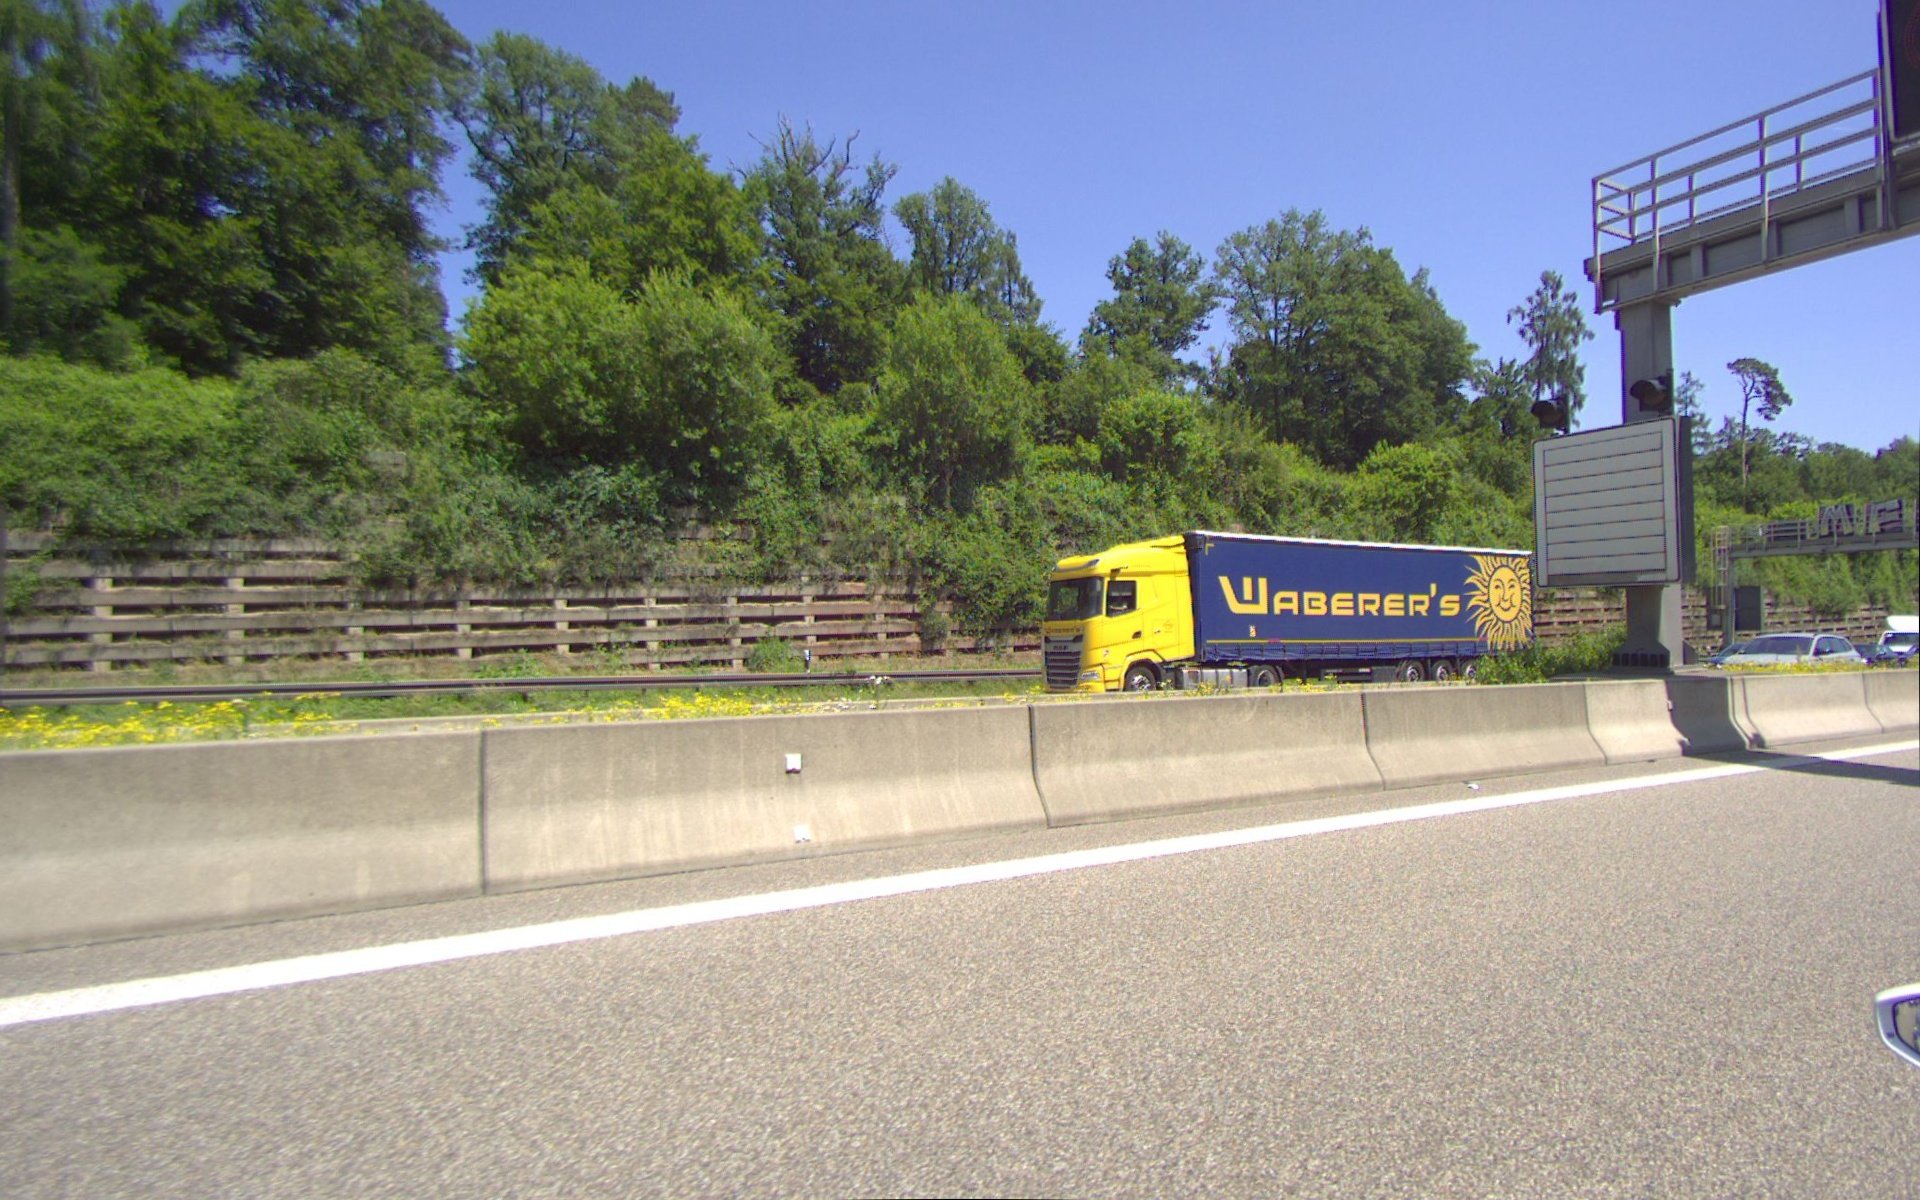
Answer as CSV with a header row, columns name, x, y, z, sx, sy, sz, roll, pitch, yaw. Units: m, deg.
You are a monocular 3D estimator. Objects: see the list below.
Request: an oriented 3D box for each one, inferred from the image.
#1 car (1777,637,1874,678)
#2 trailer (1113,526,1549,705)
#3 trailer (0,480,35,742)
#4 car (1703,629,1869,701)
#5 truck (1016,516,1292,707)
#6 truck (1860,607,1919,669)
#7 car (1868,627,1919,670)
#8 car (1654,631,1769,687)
name,x,y,z,sx,sy,sz,roll,pitch,yaw
car,36.602,2.383,42.472,4.320,1.625,1.791,1,-2,-31
trailer,11.029,0.547,28.655,14.286,4.262,2.966,1,-3,-29
trailer,-21.310,0.082,12.596,13.829,4.154,2.965,1,-3,-30
car,20.298,1.534,24.660,4.069,1.626,1.835,1,-2,-31
truck,4.898,0.374,25.274,6.378,4.257,2.939,1,-3,-29
truck,49.415,1.934,51.713,6.979,3.032,2.567,1,-2,-31
car,37.419,1.840,38.908,4.805,1.626,1.994,1,-2,-31
car,22.540,1.735,30.096,3.508,1.556,1.508,1,-2,-31
